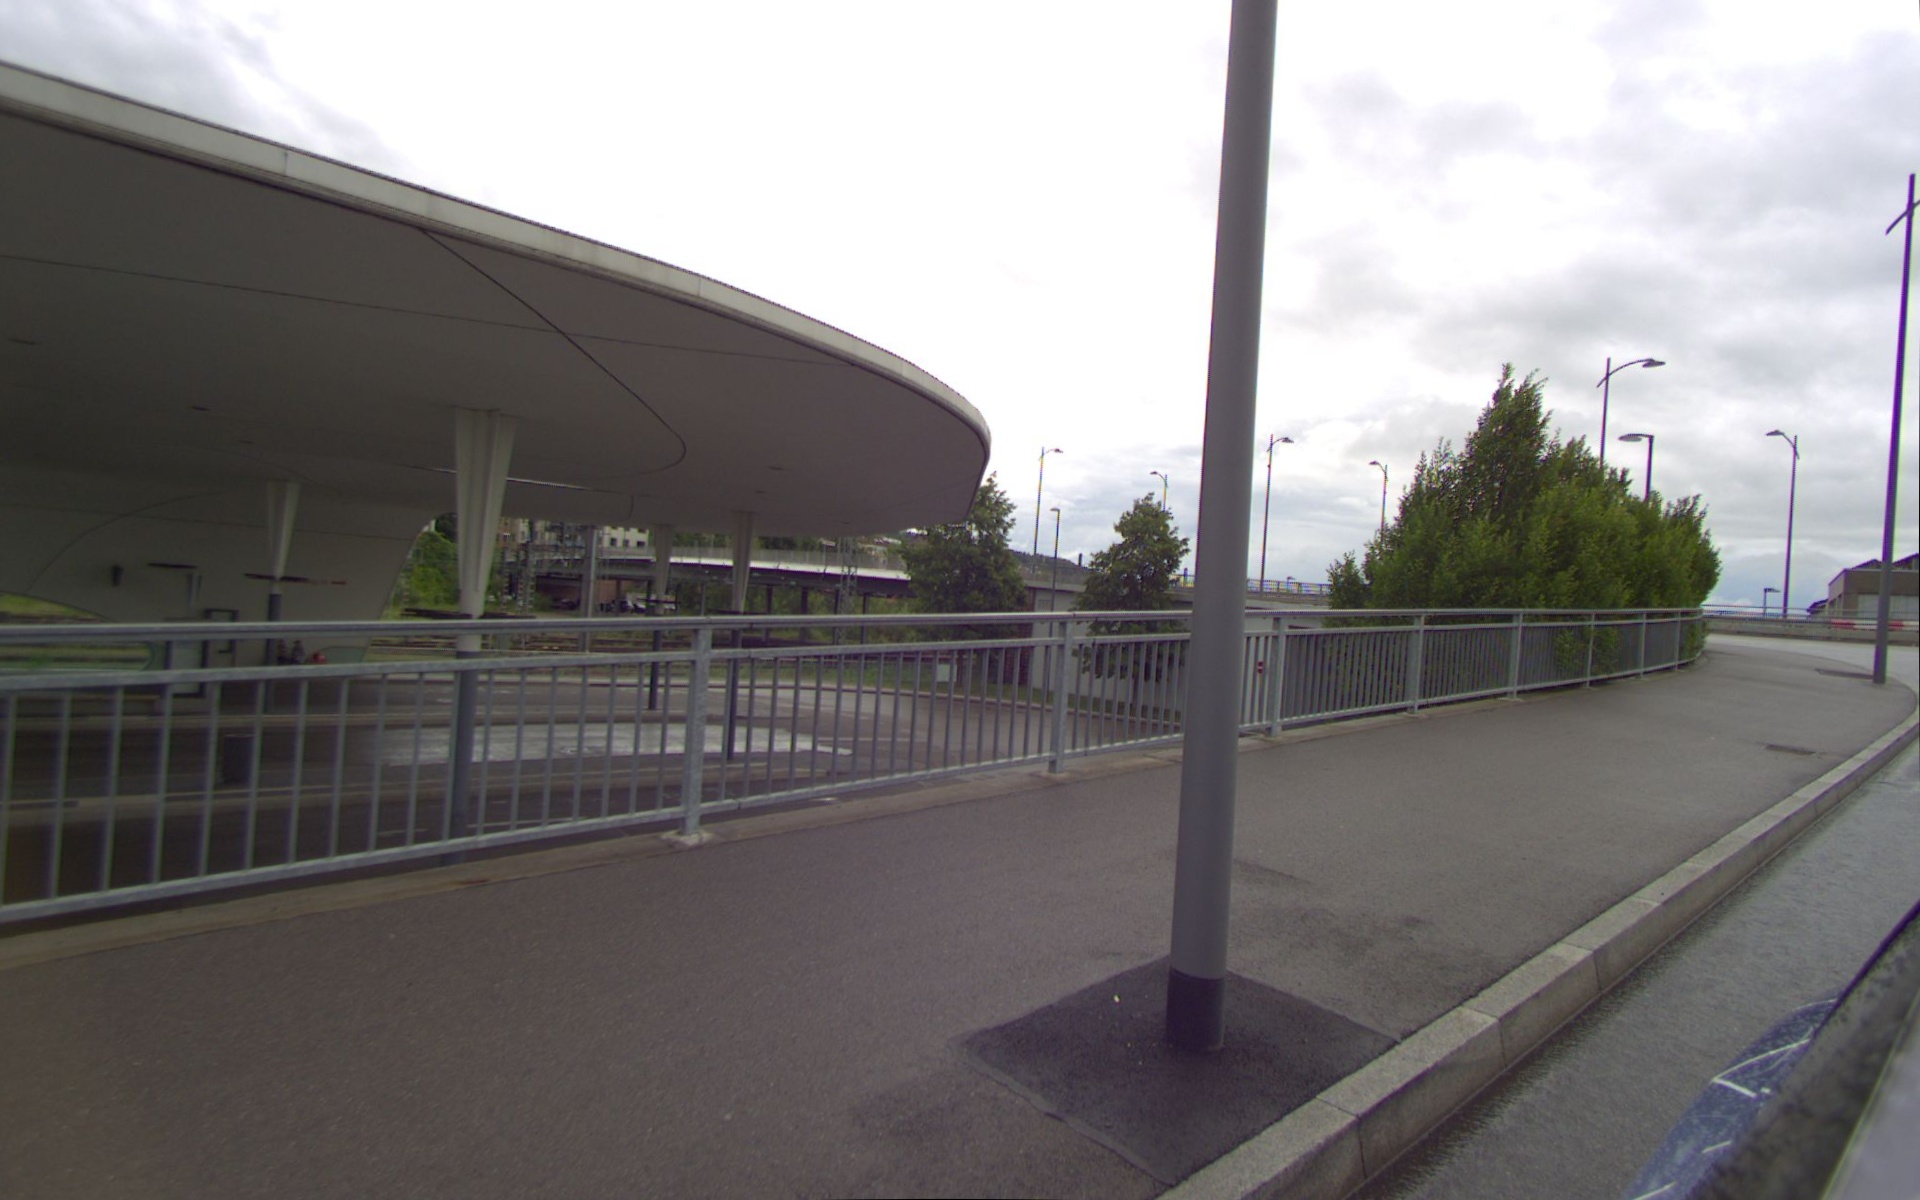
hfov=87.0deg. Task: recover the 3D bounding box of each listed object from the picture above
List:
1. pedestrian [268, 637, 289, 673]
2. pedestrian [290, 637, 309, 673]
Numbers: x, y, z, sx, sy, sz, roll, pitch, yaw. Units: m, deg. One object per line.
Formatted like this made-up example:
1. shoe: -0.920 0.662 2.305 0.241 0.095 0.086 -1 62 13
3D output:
1. pedestrian: -25.216 2.021 37.445 0.575 1.286 0.568 0 0 -38
2. pedestrian: -24.693 2.063 37.847 0.536 1.296 0.568 0 0 -38
